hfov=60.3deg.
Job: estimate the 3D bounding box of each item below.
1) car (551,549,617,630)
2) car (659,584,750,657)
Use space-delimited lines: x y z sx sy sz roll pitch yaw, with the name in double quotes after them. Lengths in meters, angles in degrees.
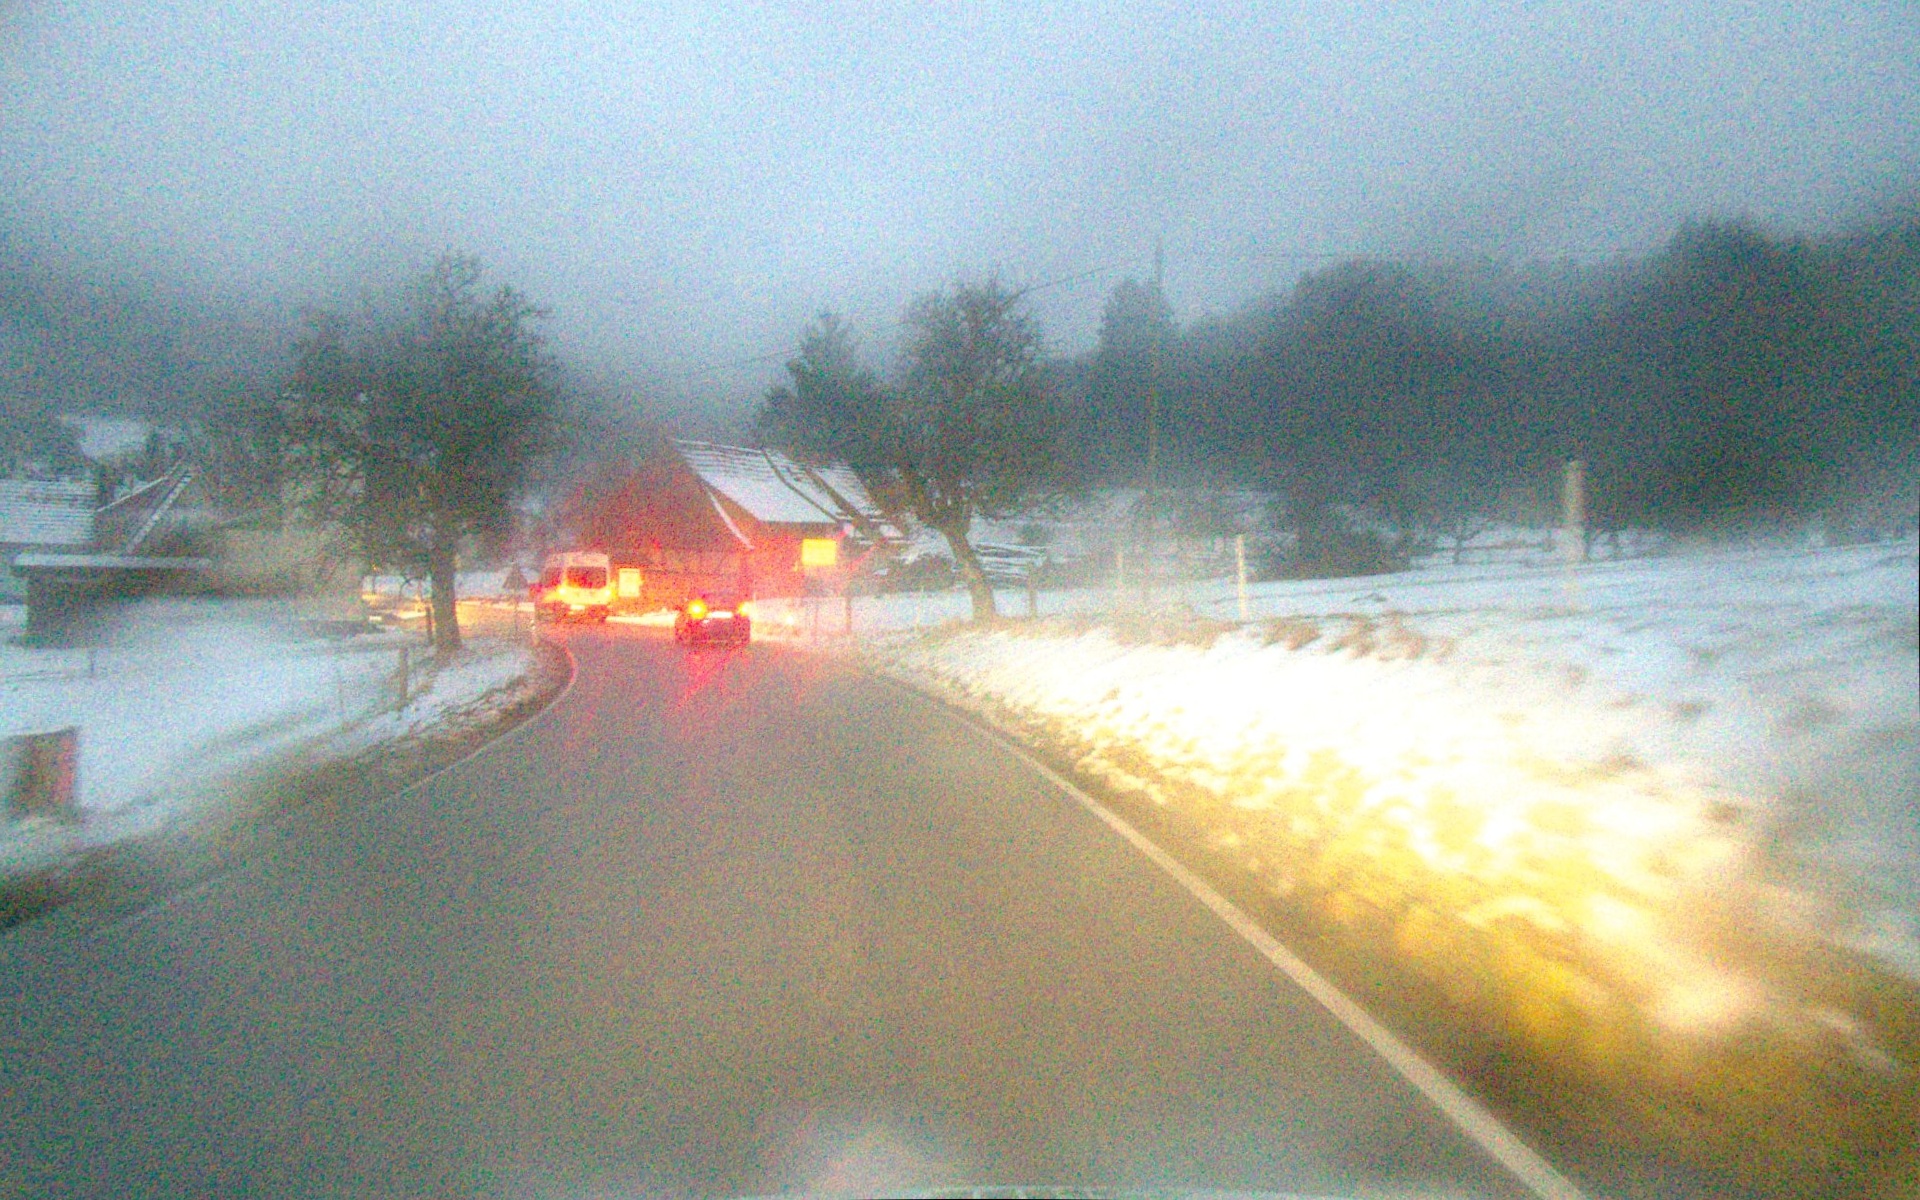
-14.848 -0.385 65.592 2.392 3.071 5.309 0 -1 -12 "car"
-7.160 0.545 46.014 2.234 1.873 4.992 -1 0 -12 "car"
